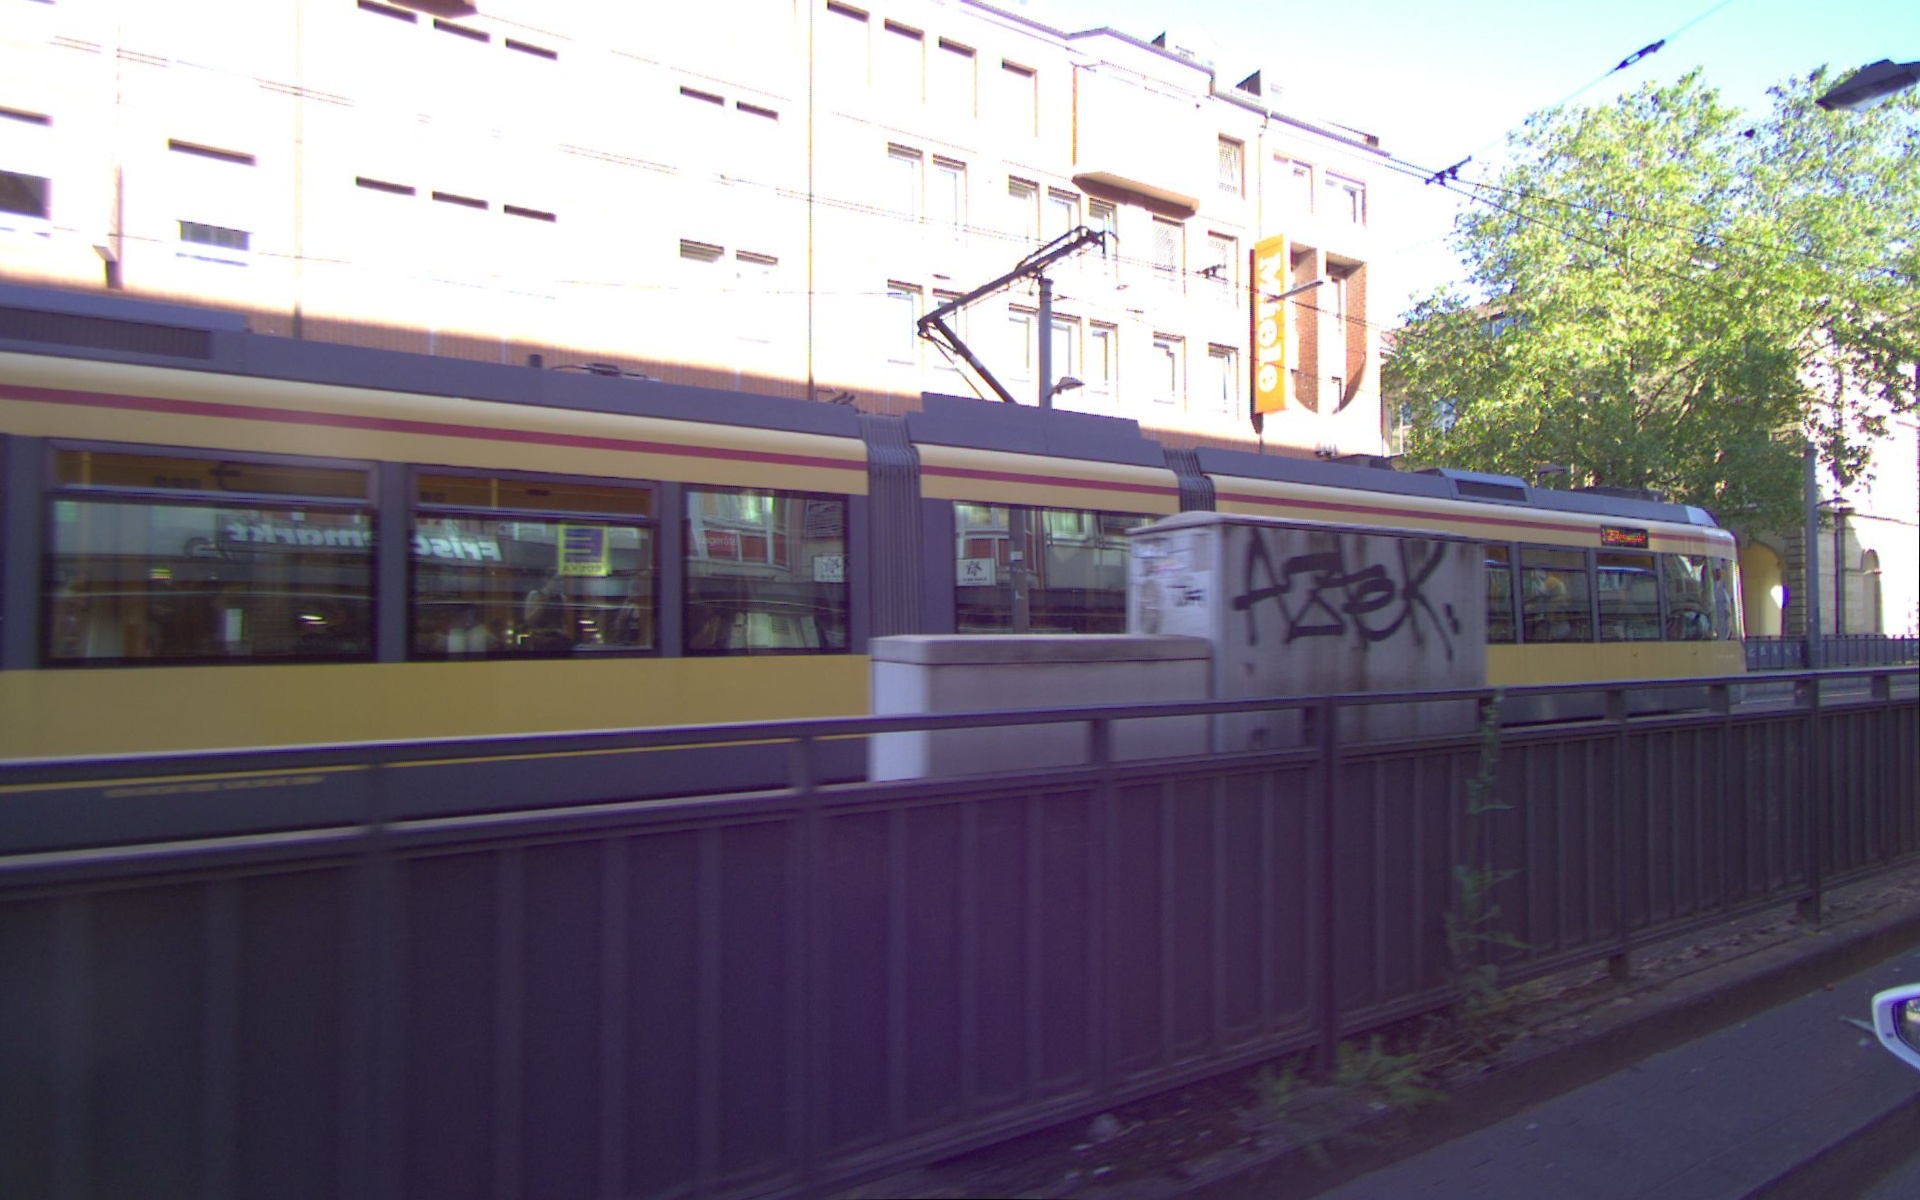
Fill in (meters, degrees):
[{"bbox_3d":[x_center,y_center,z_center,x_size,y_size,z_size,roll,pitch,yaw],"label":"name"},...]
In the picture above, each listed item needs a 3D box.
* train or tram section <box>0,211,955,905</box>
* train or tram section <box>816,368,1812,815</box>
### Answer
[{"bbox_3d":[-6.735,-0.234,6.119,13.777,3.693,2.960,1,0,-30],"label":"train or tram section"},{"bbox_3d":[6.198,-0.061,13.681,16.288,3.693,2.960,0,0,-30],"label":"train or tram section"}]
